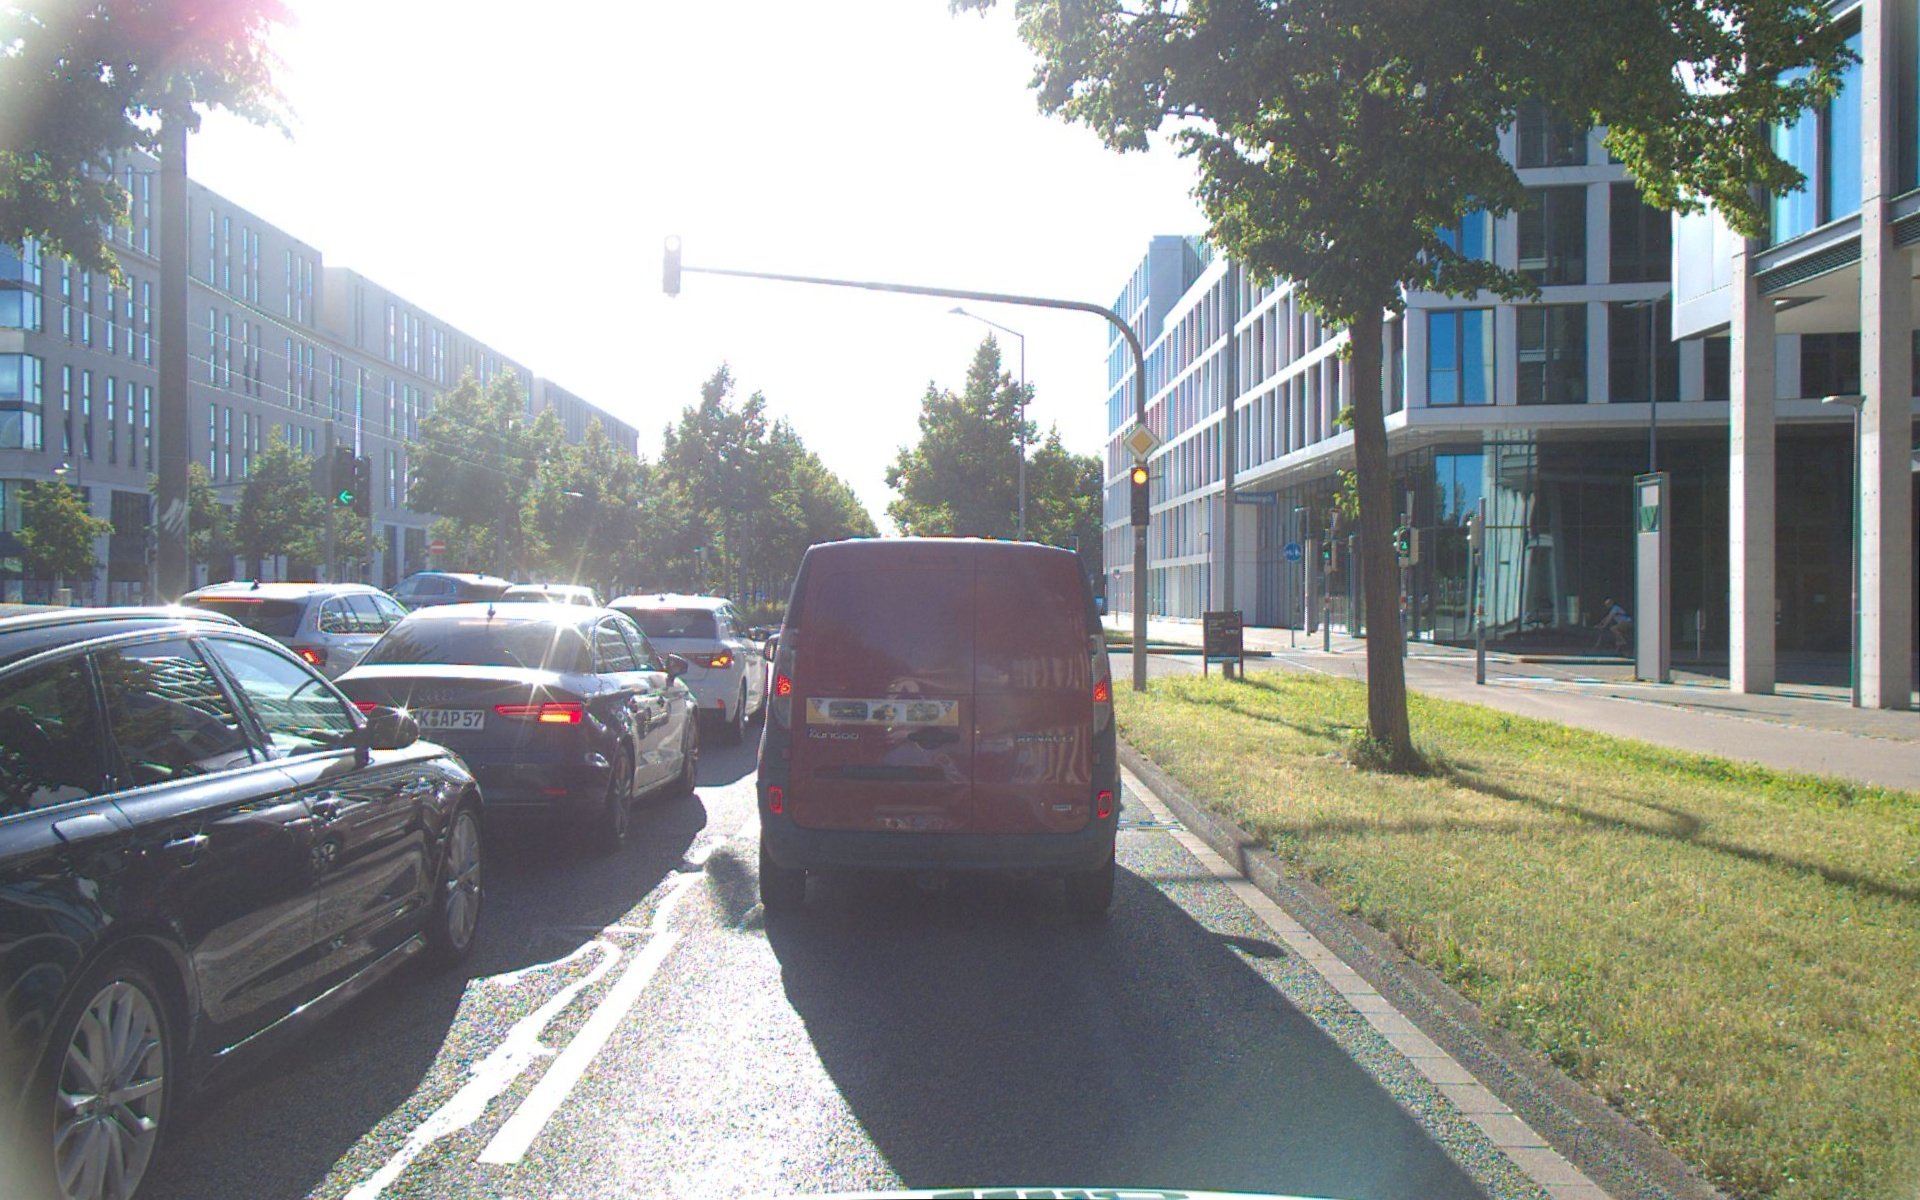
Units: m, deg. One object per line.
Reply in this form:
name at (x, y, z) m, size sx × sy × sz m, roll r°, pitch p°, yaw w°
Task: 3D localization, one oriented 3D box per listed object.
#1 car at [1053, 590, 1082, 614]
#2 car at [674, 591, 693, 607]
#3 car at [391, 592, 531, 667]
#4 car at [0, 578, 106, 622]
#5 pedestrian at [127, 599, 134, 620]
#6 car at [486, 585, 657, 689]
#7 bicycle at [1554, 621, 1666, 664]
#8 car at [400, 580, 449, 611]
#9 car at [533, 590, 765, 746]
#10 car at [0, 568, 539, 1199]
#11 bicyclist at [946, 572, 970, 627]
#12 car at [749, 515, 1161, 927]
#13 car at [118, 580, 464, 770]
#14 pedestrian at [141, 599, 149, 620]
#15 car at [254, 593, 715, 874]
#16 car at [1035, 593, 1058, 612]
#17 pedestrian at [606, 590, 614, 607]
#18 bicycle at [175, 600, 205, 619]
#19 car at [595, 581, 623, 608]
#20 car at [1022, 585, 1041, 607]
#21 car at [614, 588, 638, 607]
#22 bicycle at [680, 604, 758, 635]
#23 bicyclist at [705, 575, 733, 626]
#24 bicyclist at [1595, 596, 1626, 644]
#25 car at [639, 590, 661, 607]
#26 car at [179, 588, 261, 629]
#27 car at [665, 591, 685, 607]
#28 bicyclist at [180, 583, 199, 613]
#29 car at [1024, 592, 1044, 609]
car at (8.326, 0.161, 128.020) m, size 1.953 × 1.813 × 3.999 m, roll 0°, pitch 0°, yaw -1°
car at (-37.169, -0.162, 222.291) m, size 1.953 × 2.049 × 3.999 m, roll 0°, pitch 0°, yaw -1°
car at (-10.642, 0.634, 35.070) m, size 1.781 × 1.473 × 4.518 m, roll 0°, pitch -1°, yaw -32°
car at (-33.199, -0.021, 60.642) m, size 1.729 × 1.546 × 3.999 m, roll 0°, pitch 0°, yaw -1°
pedestrian at (-43.898, 0.512, 87.536) m, size 0.248 × 1.104 × 0.260 m, roll 0°, pitch 0°, yaw -1°
car at (-5.955, 0.514, 25.866) m, size 1.763 × 1.473 × 4.566 m, roll 0°, pitch 0°, yaw -2°
bicycle at (17.978, 1.161, 45.804) m, size 2.776 × 1.134 × 0.821 m, roll 0°, pitch 0°, yaw 12°
car at (-35.286, -0.298, 109.099) m, size 1.953 × 2.049 × 3.999 m, roll 0°, pitch 0°, yaw -1°
car at (-3.148, 0.629, 17.466) m, size 1.767 × 1.451 × 3.900 m, roll 0°, pitch 0°, yaw -1°
car at (-2.780, 0.685, 5.110) m, size 1.836 × 1.510 × 4.965 m, roll 0°, pitch 0°, yaw -2°
bicyclist at (-0.083, -0.017, 63.925) m, size 0.921 × 2.129 × 0.817 m, roll 0°, pitch 0°, yaw -1°
car at (-0.050, 0.525, 9.287) m, size 1.804 × 1.812 × 3.999 m, roll 0°, pitch 0°, yaw -1°
car at (-6.000, 0.589, 15.380) m, size 1.483 × 1.518 × 4.215 m, roll 0°, pitch 0°, yaw 0°
pedestrian at (-43.159, 0.487, 87.595) m, size 0.248 × 1.104 × 0.289 m, roll 0°, pitch 0°, yaw -1°
car at (-2.789, 0.687, 10.772) m, size 1.804 × 1.451 × 4.338 m, roll 0°, pitch 0°, yaw -1°
car at (8.419, 0.251, 160.731) m, size 1.953 × 1.813 × 3.999 m, roll 0°, pitch 0°, yaw -1°
pedestrian at (-42.018, -0.173, 198.357) m, size 0.789 × 2.049 × 0.871 m, roll 0°, pitch 0°, yaw -1°
bicycle at (-40.524, 0.489, 87.036) m, size 0.663 × 1.005 × 1.956 m, roll 0°, pitch 0°, yaw -1°
car at (-35.603, -0.541, 167.806) m, size 1.953 × 2.653 × 3.999 m, roll 0°, pitch 0°, yaw -1°
car at (8.578, -0.497, 198.452) m, size 1.953 × 2.540 × 4.986 m, roll 0°, pitch 0°, yaw -1°
car at (-36.721, -0.250, 181.843) m, size 1.953 × 2.049 × 3.999 m, roll 0°, pitch 0°, yaw -1°
bicycle at (-9.329, 0.755, 64.042) m, size 2.882 × 1.211 × 0.818 m, roll 0°, pitch 0°, yaw 0°
bicyclist at (-9.330, 0.017, 64.059) m, size 0.978 × 1.981 × 0.818 m, roll 0°, pitch 0°, yaw 0°
bicyclist at (17.998, 0.549, 45.790) m, size 0.666 × 1.297 × 0.821 m, roll 0°, pitch 0°, yaw 11°
car at (-37.218, -0.227, 198.650) m, size 1.953 × 2.049 × 3.999 m, roll 0°, pitch 0°, yaw -1°
car at (-34.746, 0.384, 77.761) m, size 1.953 × 1.845 × 4.369 m, roll 0°, pitch 0°, yaw -1°
car at (-37.357, -0.185, 216.665) m, size 1.953 × 2.049 × 3.999 m, roll 0°, pitch 0°, yaw -1°
bicyclist at (-40.517, -0.116, 86.970) m, size 0.663 × 1.556 × 0.714 m, roll 0°, pitch 0°, yaw -1°
car at (8.064, 0.084, 179.926) m, size 1.953 × 1.813 × 3.999 m, roll 0°, pitch 0°, yaw -1°
